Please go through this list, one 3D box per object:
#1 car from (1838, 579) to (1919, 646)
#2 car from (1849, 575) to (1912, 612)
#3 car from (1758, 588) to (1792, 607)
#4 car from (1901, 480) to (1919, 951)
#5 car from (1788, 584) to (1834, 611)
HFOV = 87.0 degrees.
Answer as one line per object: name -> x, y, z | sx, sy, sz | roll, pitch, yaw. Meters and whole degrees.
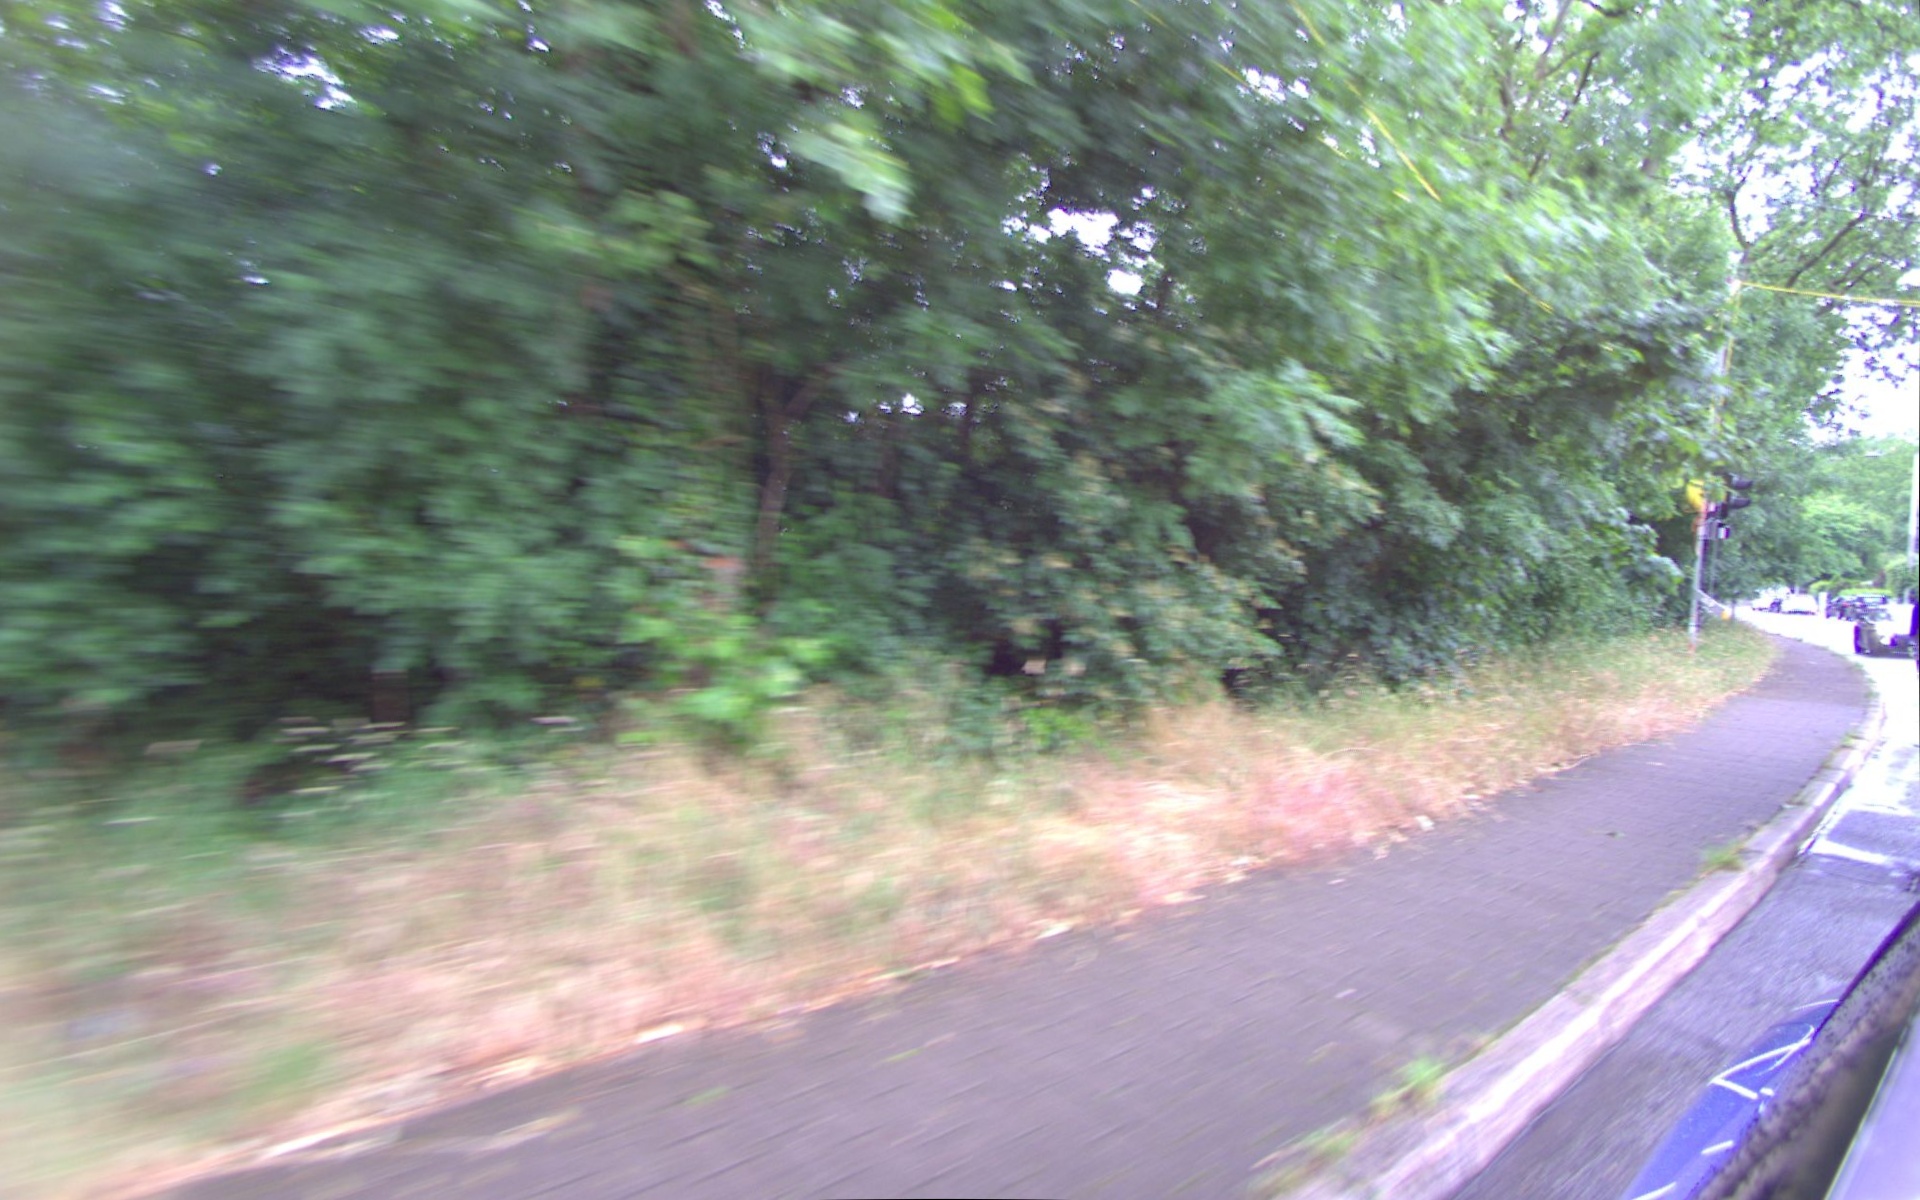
car -> 23.912, 0.360, 26.270 | 1.663, 1.610, 3.945 | 0, -2, 41
car -> 52.580, -0.376, 57.867 | 1.985, 2.039, 3.954 | 0, 1, 32
car -> 66.661, -0.204, 82.800 | 1.752, 1.547, 3.550 | 0, 1, 32
car -> 6.464, 0.437, 5.026 | 5.118, 1.917, 2.044 | -1, 1, -40
car -> 62.334, -0.200, 74.212 | 1.985, 1.884, 4.311 | 0, 1, 32
